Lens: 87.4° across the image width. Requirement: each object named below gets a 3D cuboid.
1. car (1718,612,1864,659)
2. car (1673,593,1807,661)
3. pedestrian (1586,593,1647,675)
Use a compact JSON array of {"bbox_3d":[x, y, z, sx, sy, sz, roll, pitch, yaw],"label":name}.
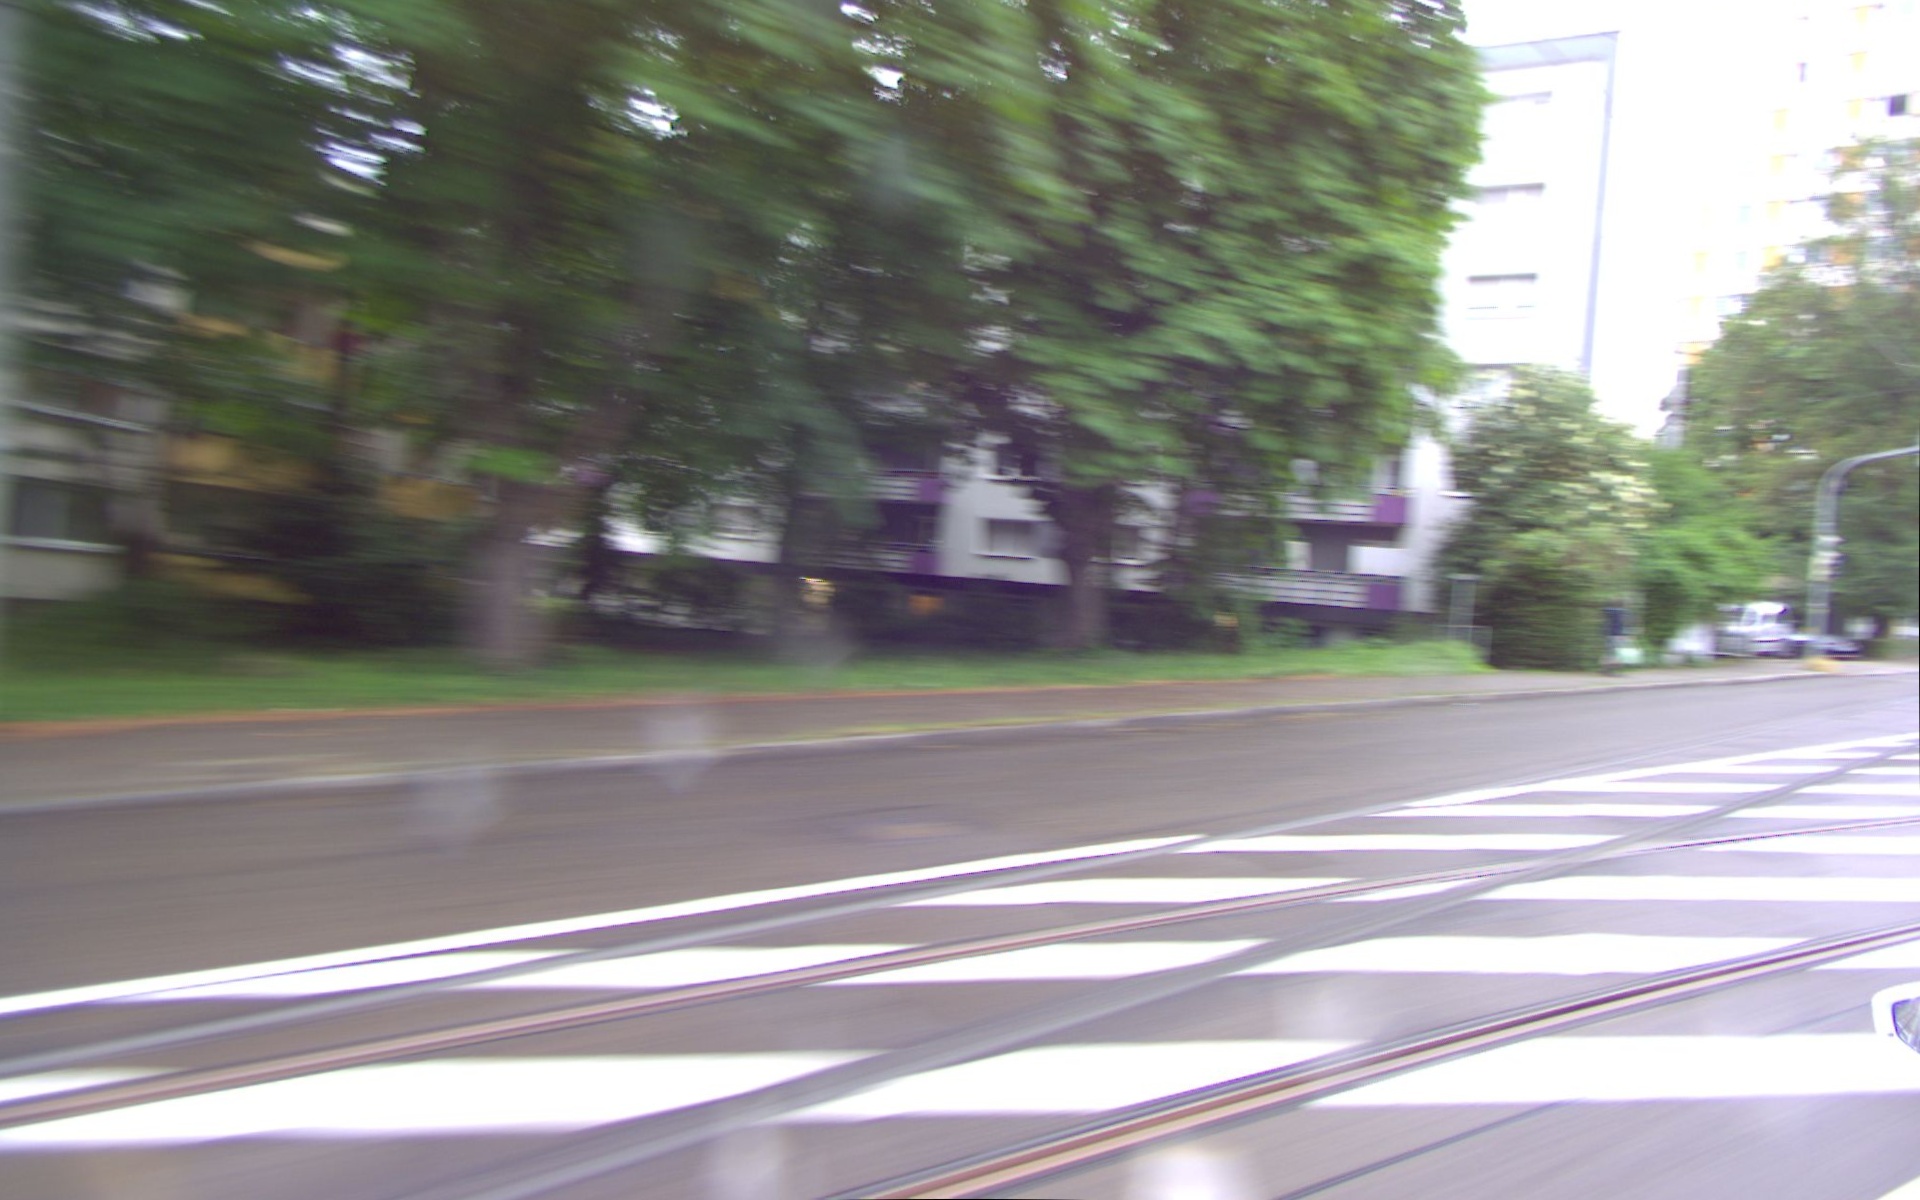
[{"bbox_3d":[30.643,1.269,37.194,1.653,1.424,3.992,6,-1,-10],"label":"car"},{"bbox_3d":[24.770,0.868,31.869,3.956,1.705,1.983,6,-1,-31],"label":"car"},{"bbox_3d":[14.366,0.750,21.983,0.907,1.698,0.735,6,-4,-28],"label":"pedestrian"}]
